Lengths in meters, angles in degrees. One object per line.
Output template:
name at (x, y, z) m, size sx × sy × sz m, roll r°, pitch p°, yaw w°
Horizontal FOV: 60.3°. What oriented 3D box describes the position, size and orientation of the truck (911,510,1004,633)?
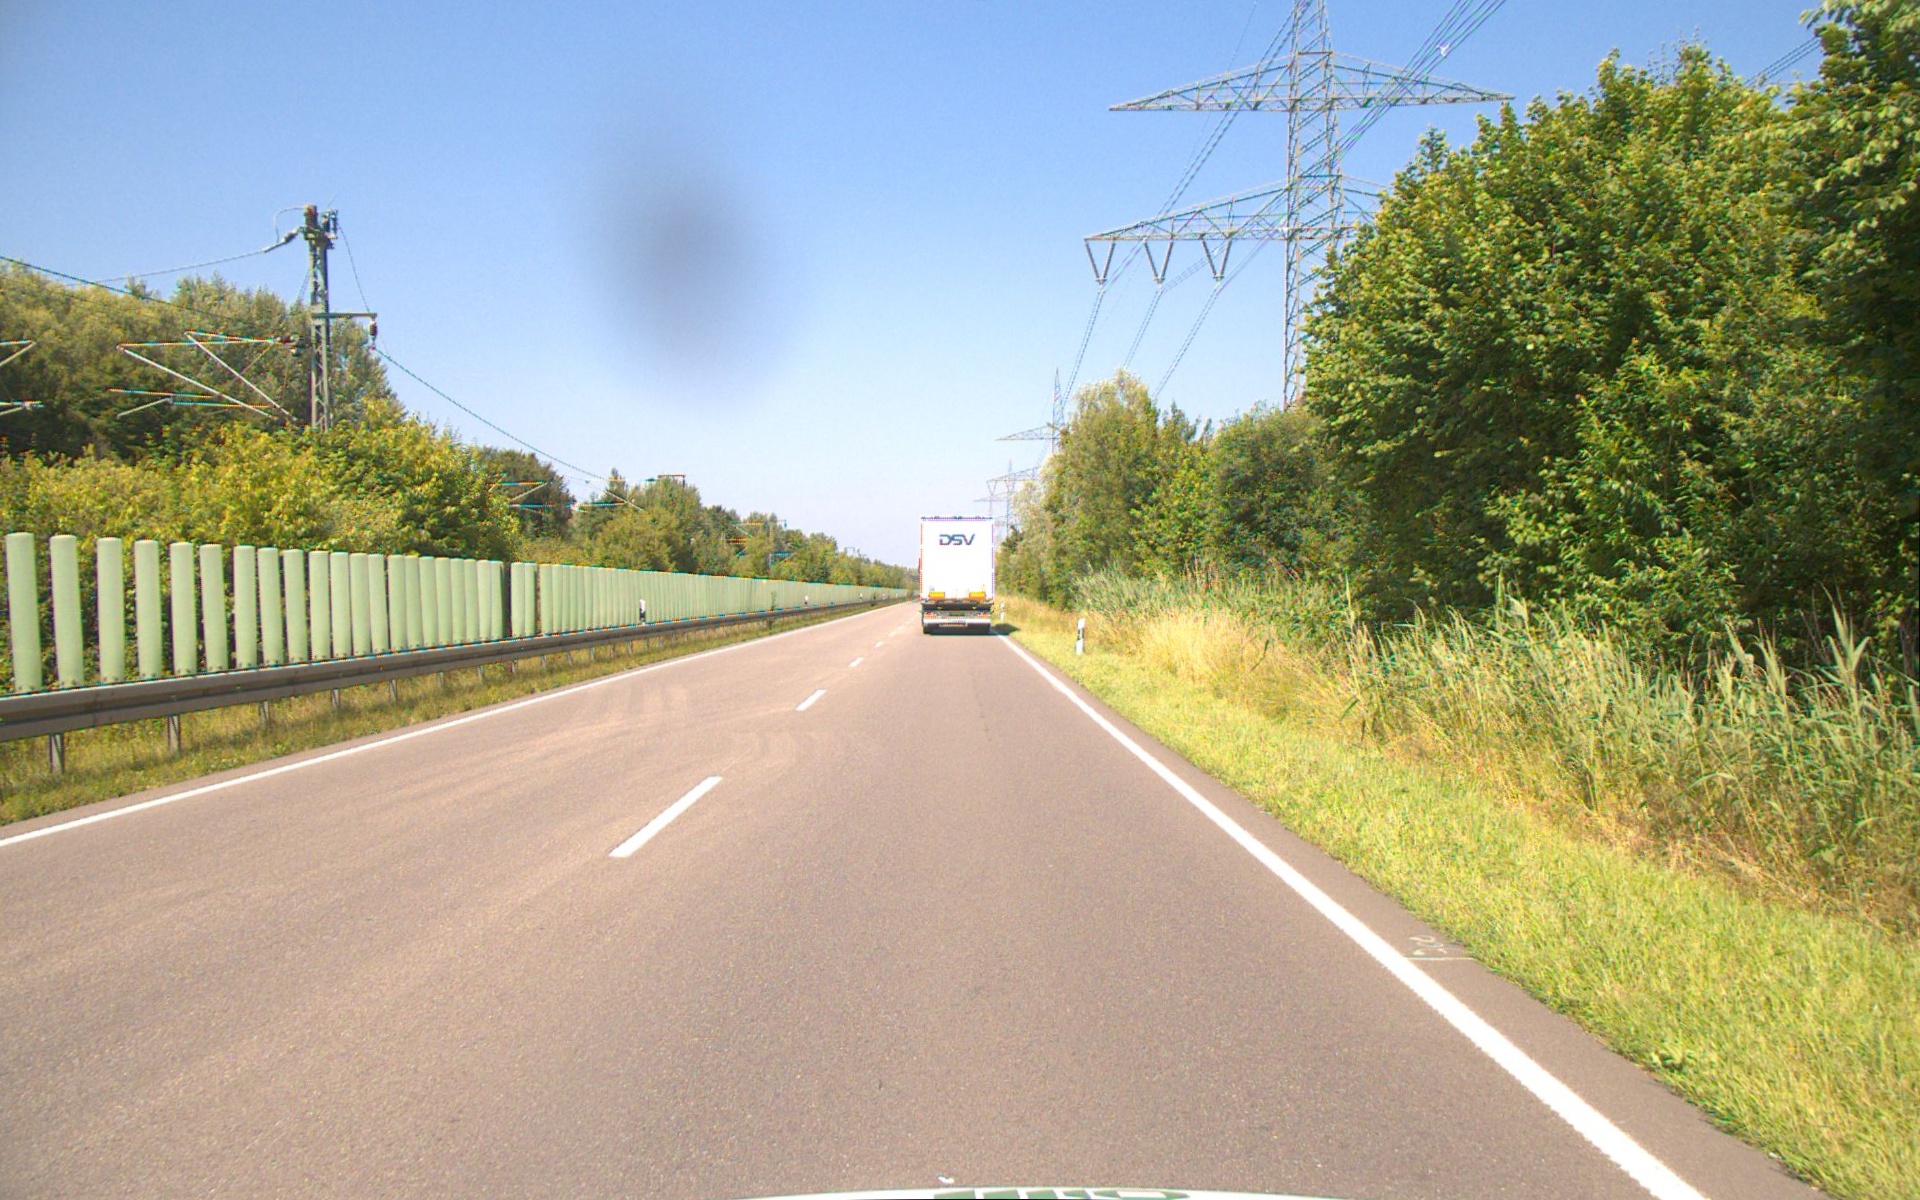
truck at (-0.195, -1.002, 61.772) m, size 3.127 × 4.113 × 12.004 m, roll 0°, pitch 0°, yaw -1°
